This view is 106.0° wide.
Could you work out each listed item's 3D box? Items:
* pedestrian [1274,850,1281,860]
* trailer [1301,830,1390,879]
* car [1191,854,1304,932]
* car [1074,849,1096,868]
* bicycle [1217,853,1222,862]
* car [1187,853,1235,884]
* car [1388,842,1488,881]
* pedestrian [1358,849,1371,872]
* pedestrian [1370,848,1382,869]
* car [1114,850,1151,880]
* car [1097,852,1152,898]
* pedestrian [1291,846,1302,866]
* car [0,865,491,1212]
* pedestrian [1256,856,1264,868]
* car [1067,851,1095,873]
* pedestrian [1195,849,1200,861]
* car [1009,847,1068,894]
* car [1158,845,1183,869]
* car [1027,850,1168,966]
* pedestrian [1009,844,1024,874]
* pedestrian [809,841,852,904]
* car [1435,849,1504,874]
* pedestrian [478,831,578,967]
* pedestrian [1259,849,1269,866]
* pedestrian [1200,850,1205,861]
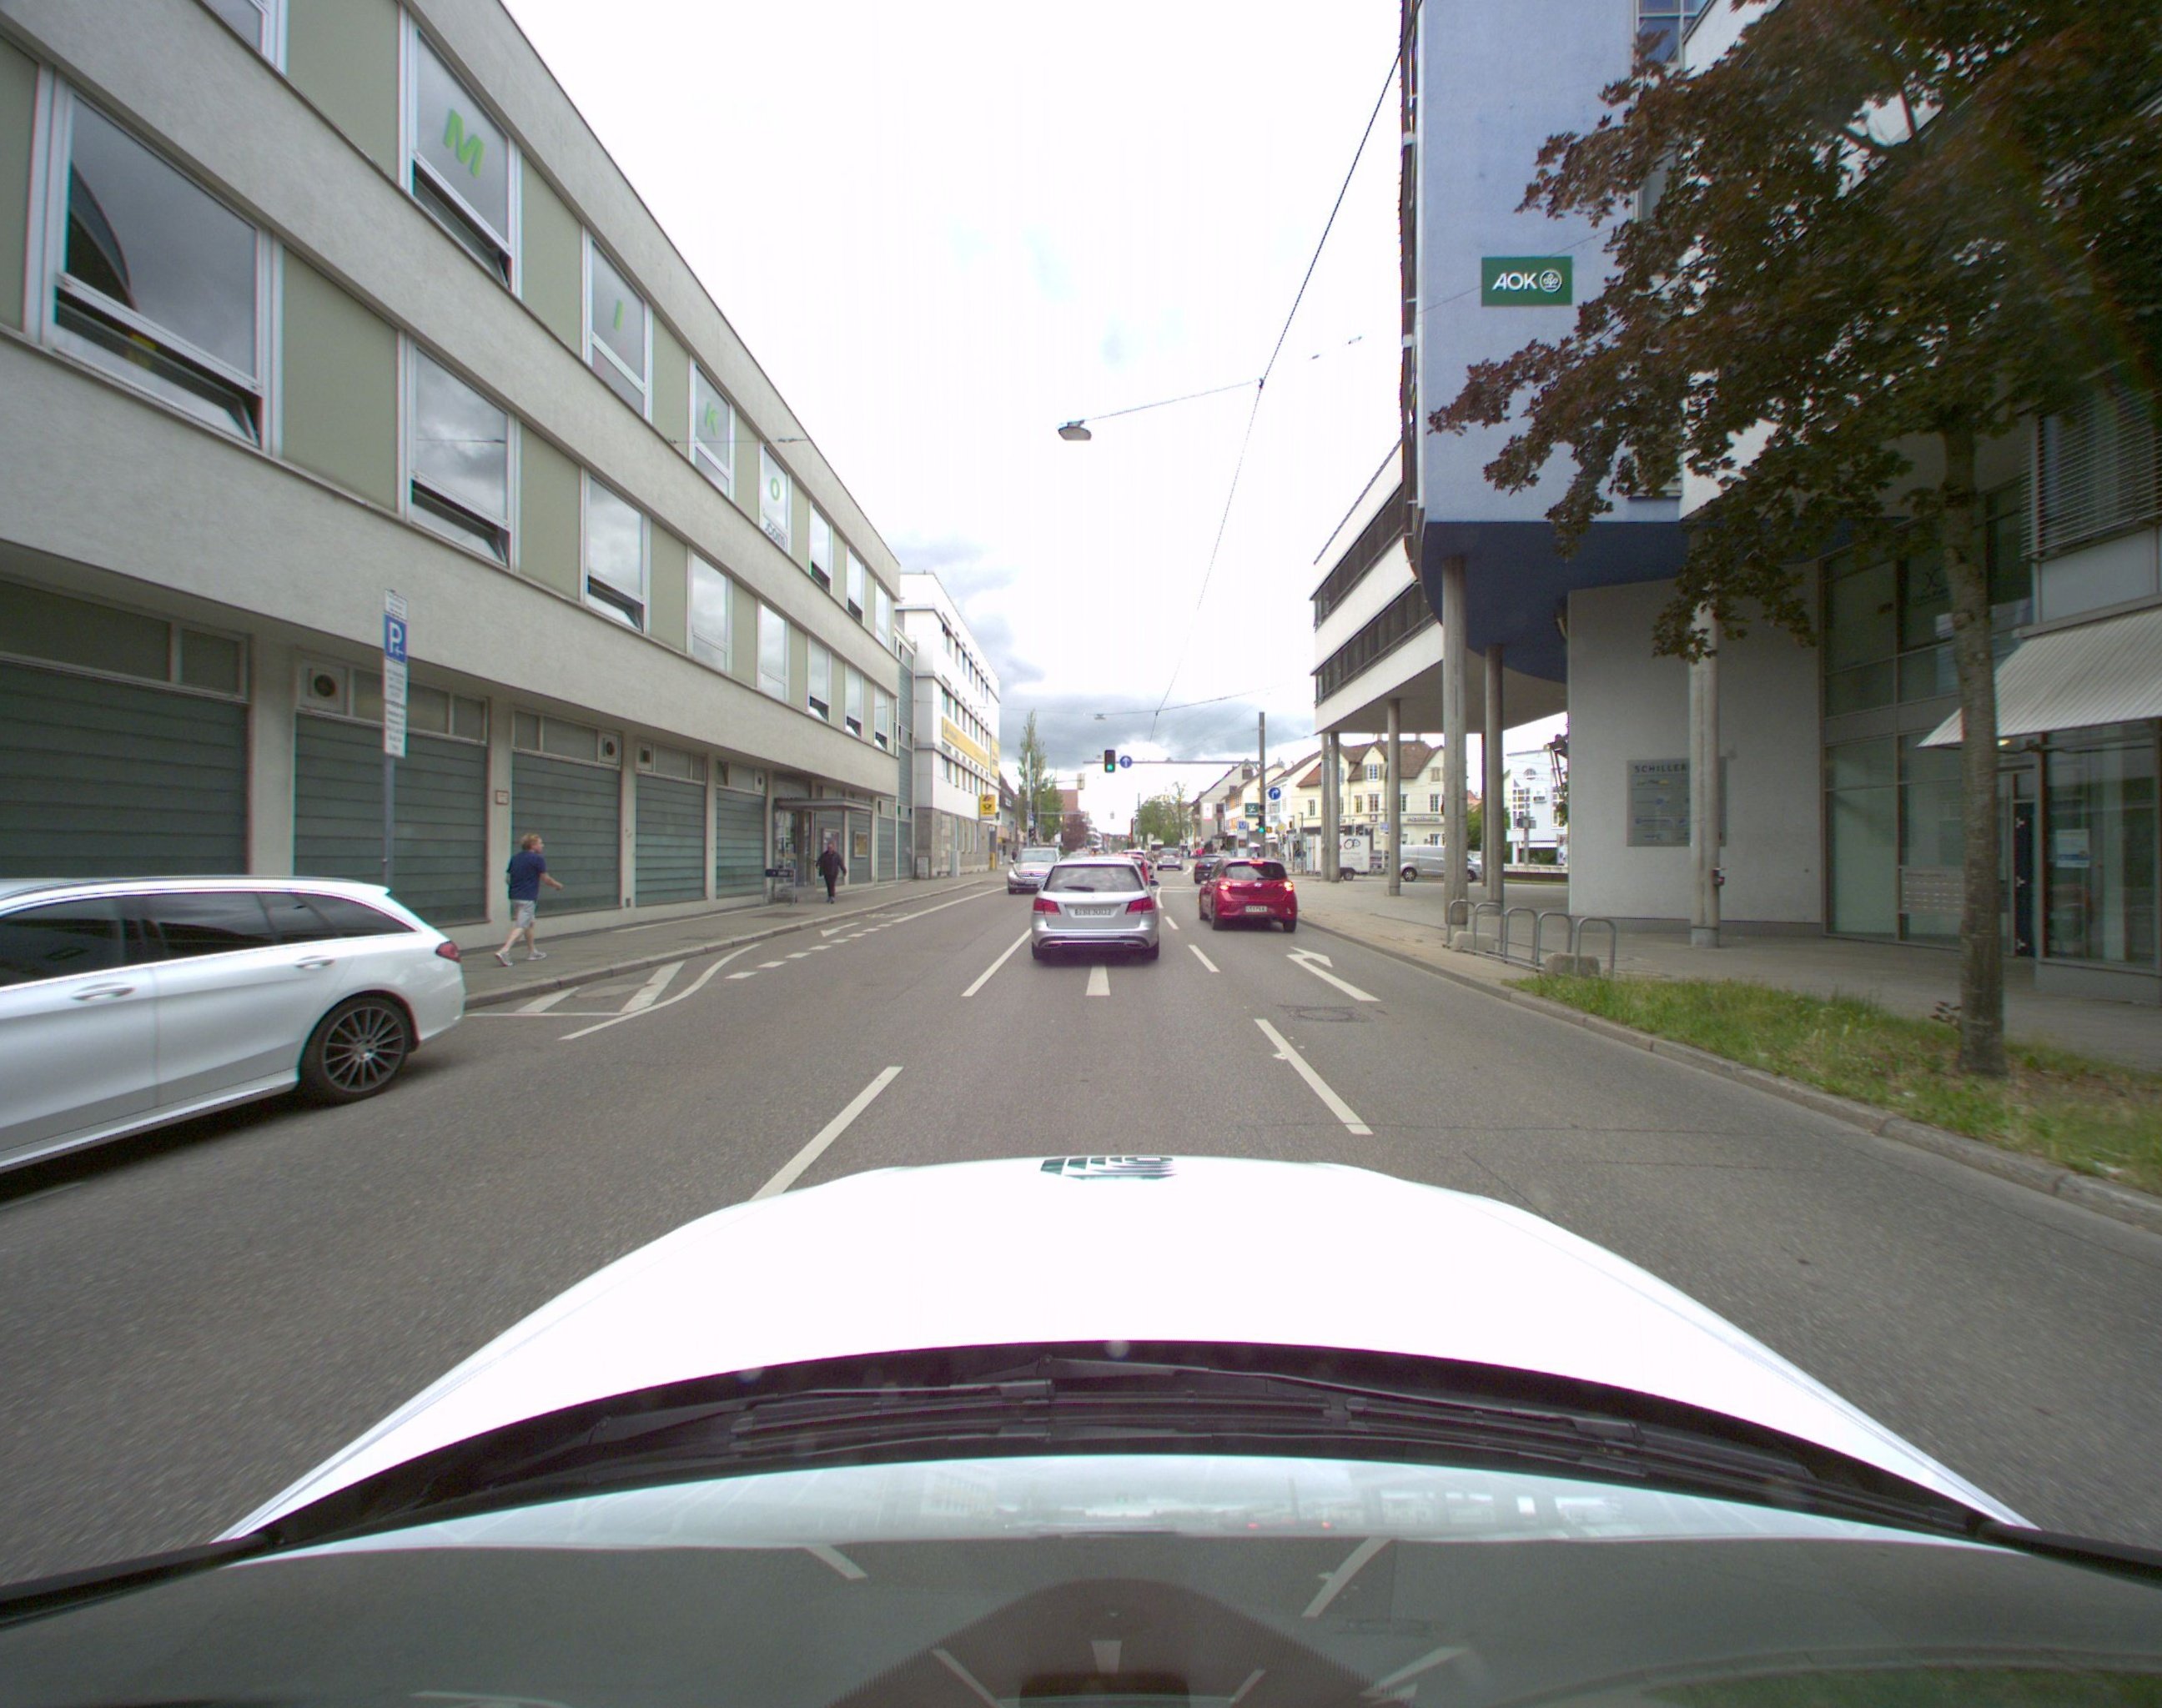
[{"bbox_3d":[25.049,0.114,103.774,0.734,1.164,0.642,1,0,-1],"label":"pedestrian"},{"bbox_3d":[14.627,0.010,45.169,4.299,2.613,1.882,0,0,-3],"label":"trailer"},{"bbox_3d":[3.522,0.768,17.926,1.692,1.452,4.001,2,0,1],"label":"car"},{"bbox_3d":[0.399,0.384,75.294,1.792,1.694,3.900,-1,0,3],"label":"car"},{"bbox_3d":[17.542,0.455,103.298,0.446,1.107,2.151,0,0,3],"label":"bicycle"},{"bbox_3d":[6.401,0.665,39.895,1.720,1.410,4.019,0,1,18],"label":"car"},{"bbox_3d":[19.299,0.376,44.240,4.850,1.945,1.893,1,0,19],"label":"car"},{"bbox_3d":[22.038,0.497,63.211,0.707,1.718,0.643,0,0,-33],"label":"pedestrian"},{"bbox_3d":[24.522,0.332,67.759,0.779,1.718,0.654,2,1,33],"label":"pedestrian"},{"bbox_3d":[2.742,0.547,43.923,1.728,1.508,4.000,0,0,0],"label":"car"},{"bbox_3d":[1.522,0.705,29.473,1.729,1.508,3.999,0,0,-1],"label":"car"},{"bbox_3d":[18.891,0.201,71.303,0.705,1.718,0.645,0,0,-24],"label":"pedestrian"},{"bbox_3d":[-5.459,0.841,3.913,1.662,1.434,4.557,-2,0,4],"label":"car"},{"bbox_3d":[22.928,1.017,104.490,0.642,1.591,0.892,1,0,-18],"label":"pedestrian"},{"bbox_3d":[0.042,0.521,55.176,1.650,1.466,3.923,-1,0,3],"label":"car"},{"bbox_3d":[16.359,0.195,114.462,0.578,1.666,0.648,1,0,-12],"label":"pedestrian"},{"bbox_3d":[-1.534,0.559,31.002,1.769,1.632,4.771,-1,0,3],"label":"car"},{"bbox_3d":[6.759,0.223,61.767,1.727,1.759,4.004,0,0,3],"label":"car"},{"bbox_3d":[0.226,0.702,12.785,1.840,1.508,4.170,0,0,0],"label":"car"},{"bbox_3d":[-3.651,0.276,46.154,0.644,1.718,0.785,1,0,9],"label":"pedestrian"},{"bbox_3d":[-7.085,0.508,23.069,0.859,1.718,1.031,1,0,0],"label":"pedestrian"},{"bbox_3d":[32.063,0.606,67.362,1.999,1.919,4.730,2,-1,-37],"label":"car"},{"bbox_3d":[-7.319,0.564,10.822,0.587,1.718,1.055,0,0,0],"label":"pedestrian"},{"bbox_3d":[18.424,0.332,82.049,0.838,1.718,0.727,0,0,-1],"label":"pedestrian"},{"bbox_3d":[16.665,0.235,111.413,0.576,1.469,0.650,1,0,-3],"label":"pedestrian"}]
